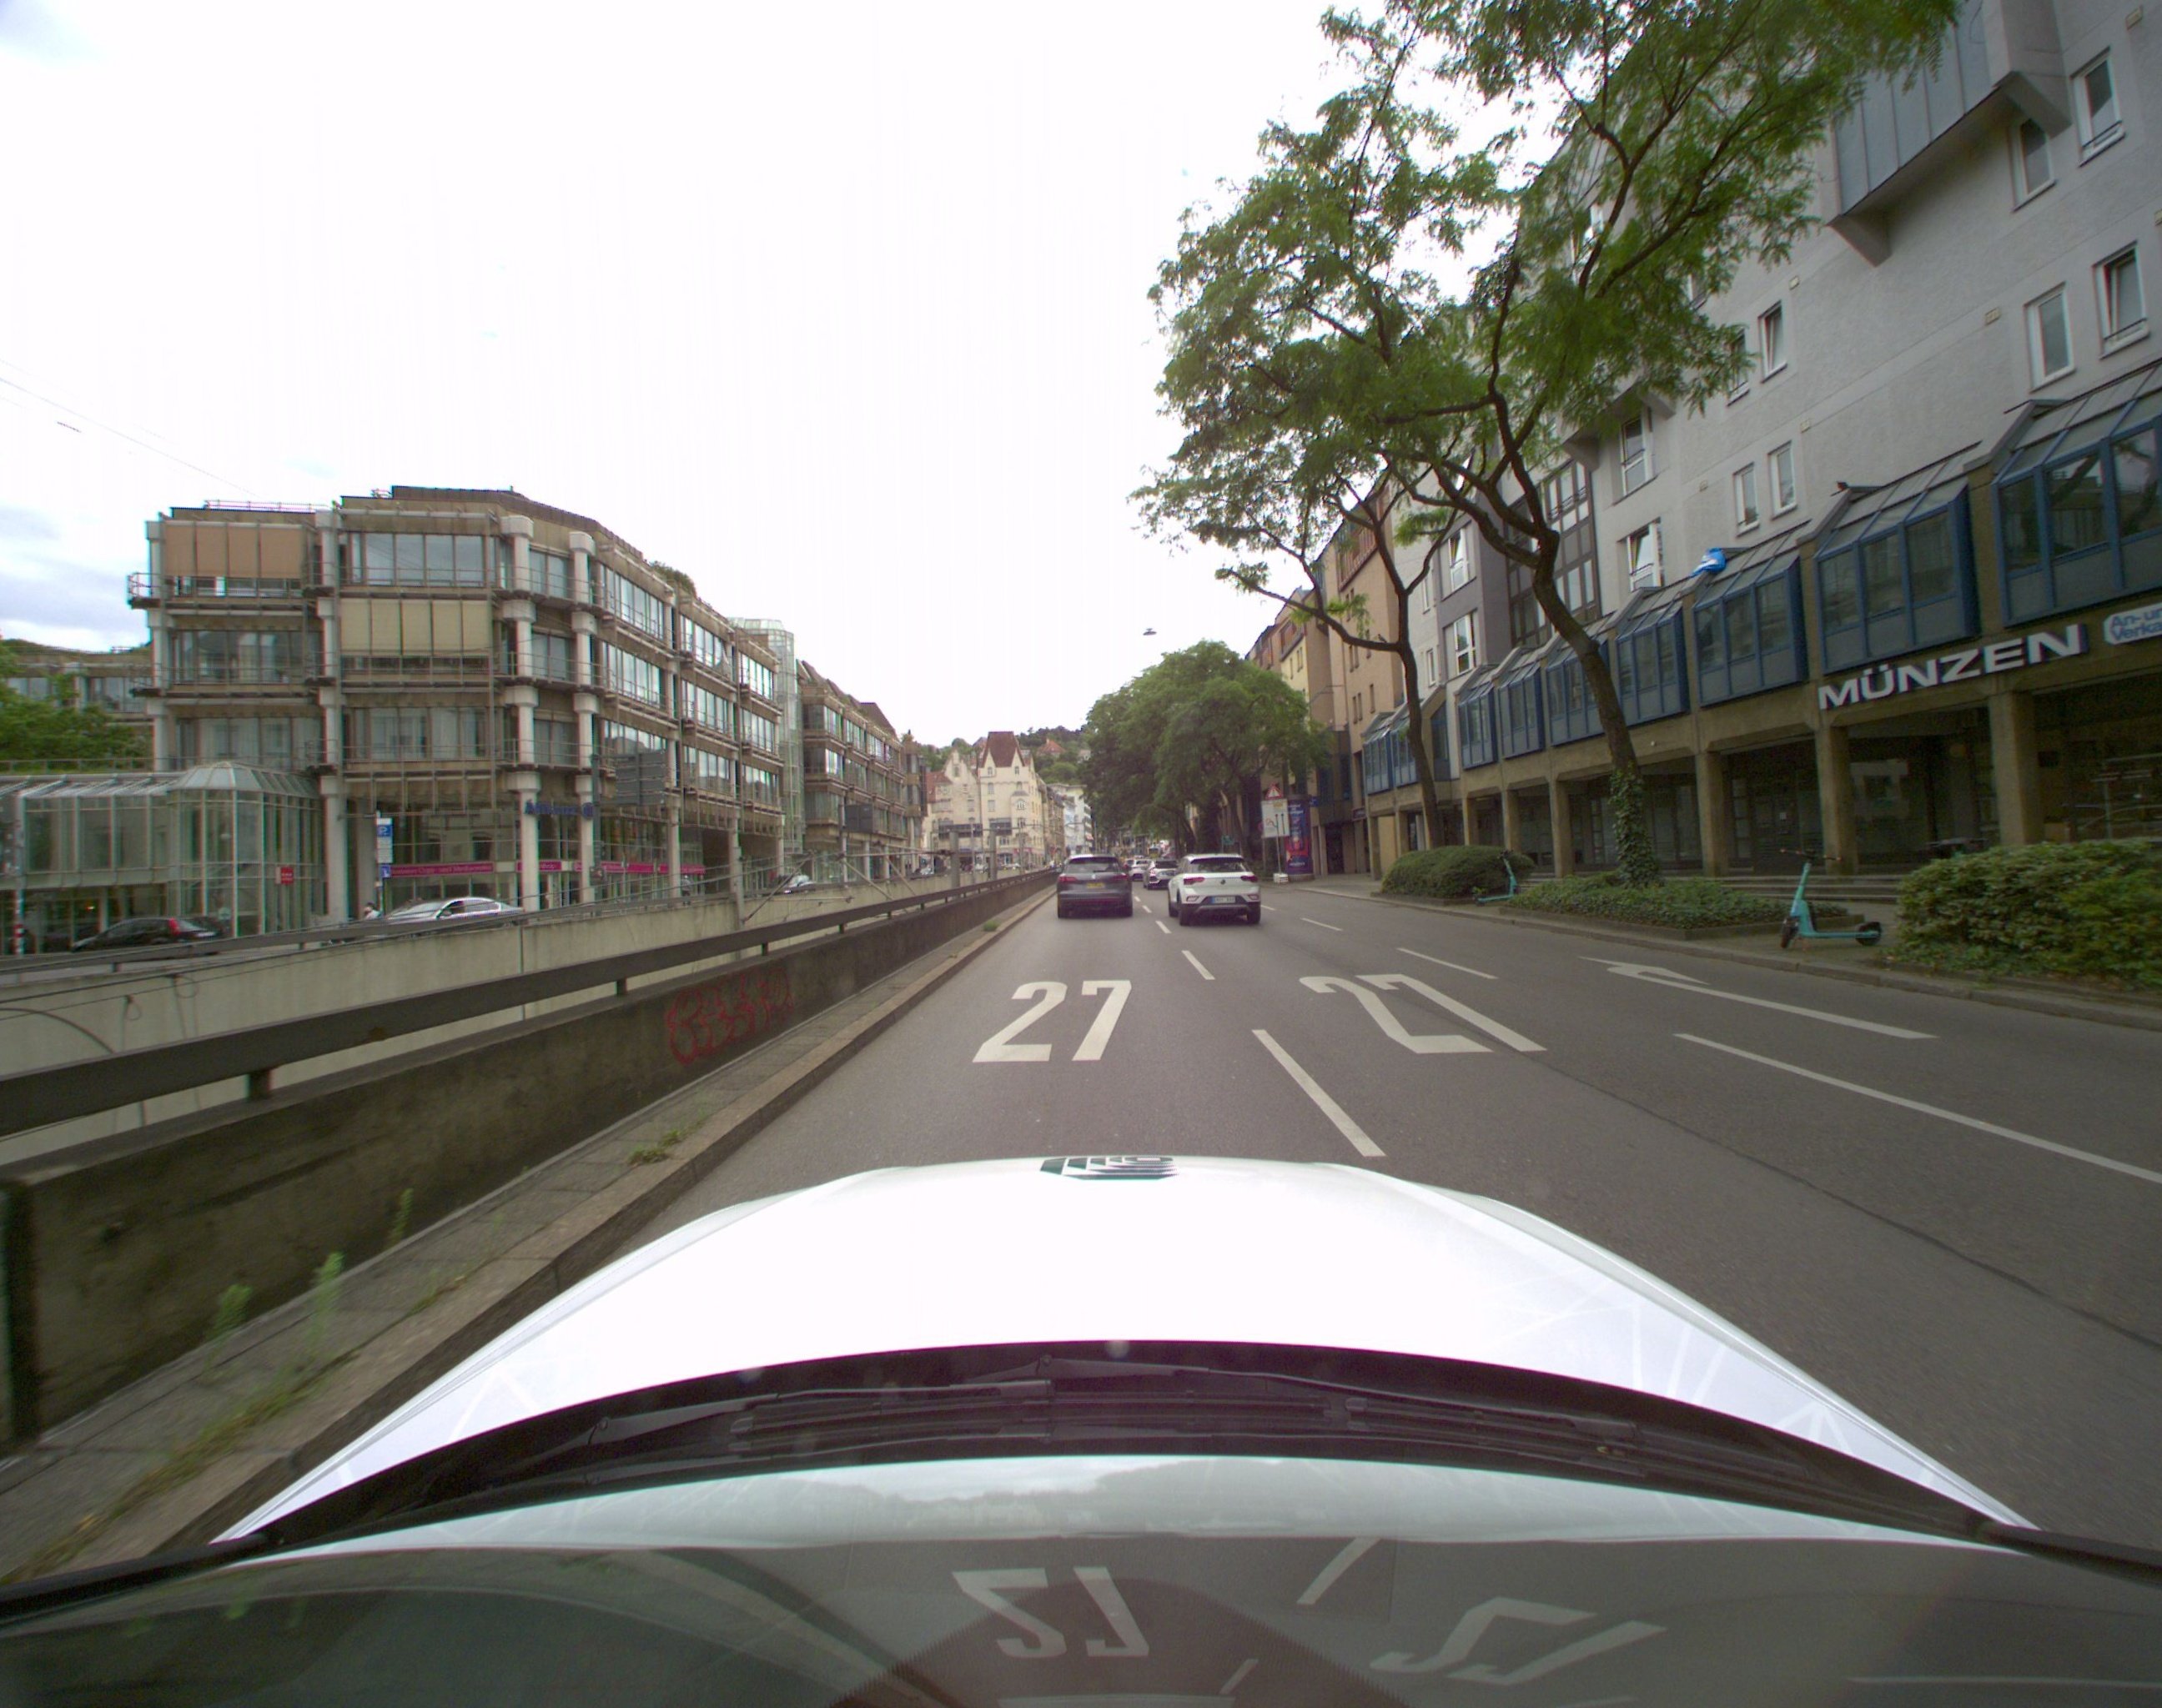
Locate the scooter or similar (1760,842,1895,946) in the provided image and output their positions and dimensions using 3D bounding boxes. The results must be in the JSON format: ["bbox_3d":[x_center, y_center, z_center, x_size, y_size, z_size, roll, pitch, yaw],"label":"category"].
[{"bbox_3d":[9.137,0.483,9.998,1.100,1.181,0.429,-5,0,11],"label":"scooter or similar"}]

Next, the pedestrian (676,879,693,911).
[{"bbox_3d":[-22.972,2.376,47.211,0.530,1.793,0.695,-3,-1,2],"label":"pedestrian"}]

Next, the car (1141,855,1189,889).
[{"bbox_3d":[3.904,0.883,38.540,1.827,1.432,4.147,-2,-2,1],"label":"car"}]

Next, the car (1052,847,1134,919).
[{"bbox_3d":[0.373,0.696,22.336,1.962,1.695,4.227,-2,0,2],"label":"car"}]

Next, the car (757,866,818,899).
[{"bbox_3d":[-17.788,1.709,49.592,1.986,1.767,4.281,-3,0,1],"label":"car"}]

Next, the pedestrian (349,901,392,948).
[{"bbox_3d":[-24.627,2.429,28.240,0.699,1.544,0.845,-3,-1,-7],"label":"pedestrian"}]

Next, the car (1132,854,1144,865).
[{"bbox_3d":[10.300,1.028,147.194,1.825,1.874,4.874,-4,-1,3],"label":"car"}]

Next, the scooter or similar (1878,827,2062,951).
[{"bbox_3d":[10.039,0.382,9.233,1.191,1.268,0.725,-5,0,1],"label":"scooter or similar"}]

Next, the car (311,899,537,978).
[{"bbox_3d":[-17.783,2.217,22.443,1.985,1.585,4.892,-3,0,4],"label":"car"}]

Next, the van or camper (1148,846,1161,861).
[{"bbox_3d":[16.336,-0.094,180.690,2.614,3.178,5.813,-3,0,6],"label":"van or camper"}]

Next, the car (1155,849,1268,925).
[{"bbox_3d":[2.911,0.722,19.012,1.793,1.545,3.931,-1,-1,-3],"label":"car"}]

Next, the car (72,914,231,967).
[{"bbox_3d":[-31.514,2.919,27.682,3.434,1.436,1.650,-3,0,0],"label":"car"}]

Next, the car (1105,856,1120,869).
[{"bbox_3d":[4.254,1.130,109.662,1.826,1.567,3.768,-4,-1,1],"label":"car"}]

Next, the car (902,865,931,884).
[{"bbox_3d":[-17.292,2.130,85.593,1.986,1.767,4.281,-3,0,1],"label":"car"}]

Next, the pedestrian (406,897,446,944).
[{"bbox_3d":[-23.027,2.330,28.654,0.699,1.544,0.845,-3,-1,-7],"label":"pedestrian"}]

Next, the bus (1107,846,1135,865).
[{"bbox_3d":[8.597,0.259,171.576,3.827,3.532,17.288,-3,0,9],"label":"bus"}]

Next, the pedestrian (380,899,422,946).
[{"bbox_3d":[-23.805,2.378,28.522,0.699,1.544,0.845,-3,-1,-7],"label":"pedestrian"}]

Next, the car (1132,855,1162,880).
[{"bbox_3d":[4.386,0.897,54.556,1.825,1.517,3.769,-4,-1,2],"label":"car"}]

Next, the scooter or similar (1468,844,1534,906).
[{"bbox_3d":[9.460,0.472,18.357,1.154,1.285,0.427,-5,-1,10],"label":"scooter or similar"}]

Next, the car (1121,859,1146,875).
[{"bbox_3d":[4.904,1.264,76.999,1.828,1.363,3.762,-4,-1,-3],"label":"car"}]
